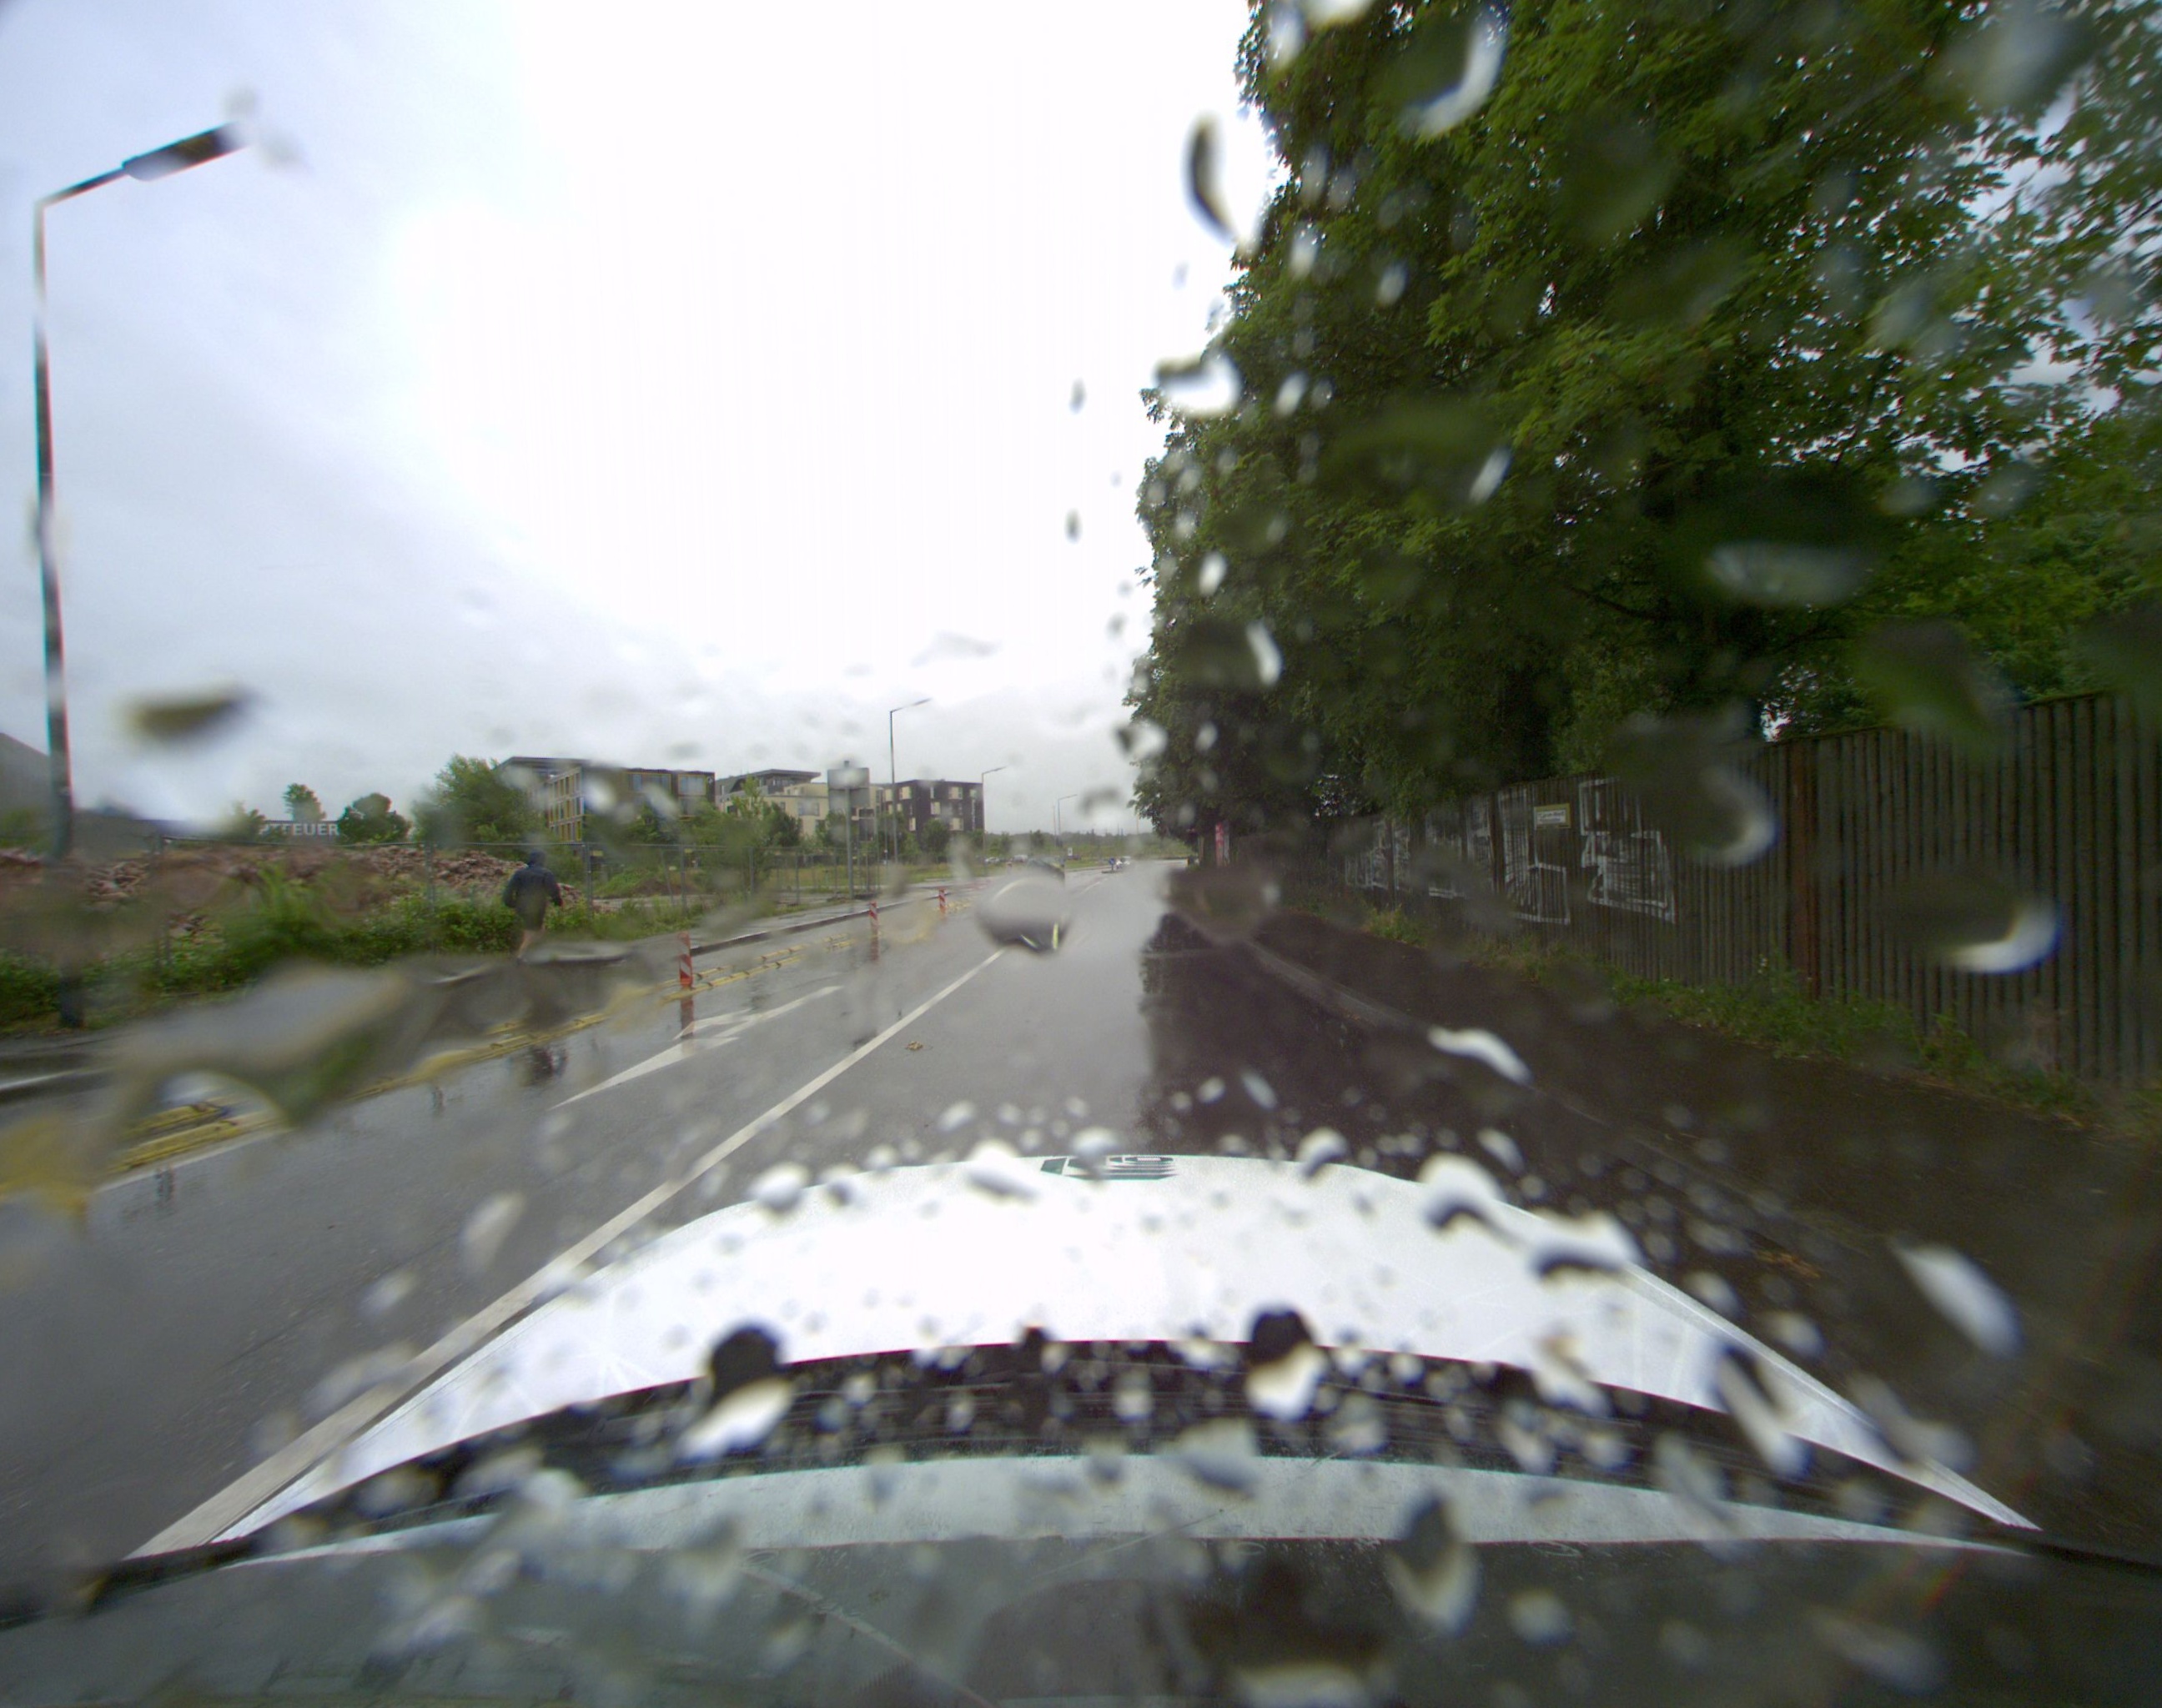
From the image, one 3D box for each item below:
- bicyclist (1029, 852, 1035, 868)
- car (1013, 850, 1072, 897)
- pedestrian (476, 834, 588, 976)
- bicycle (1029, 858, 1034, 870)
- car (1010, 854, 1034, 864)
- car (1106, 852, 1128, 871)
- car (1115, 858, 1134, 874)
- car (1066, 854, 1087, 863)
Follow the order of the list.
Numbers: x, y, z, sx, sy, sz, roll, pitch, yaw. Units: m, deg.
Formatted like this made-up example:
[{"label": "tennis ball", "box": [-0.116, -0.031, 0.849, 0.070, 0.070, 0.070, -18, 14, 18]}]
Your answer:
[{"label": "bicyclist", "box": [-4.379, 0.544, 72.468, 0.442, 1.404, 0.550, -2, -3, 0]}, {"label": "car", "box": [-1.506, 0.754, 33.496, 1.985, 1.772, 4.003, -2, 0, 3]}, {"label": "pedestrian", "box": [-8.214, 0.750, 12.231, 0.841, 2.014, 1.134, -2, -3, 7]}, {"label": "bicycle", "box": [-4.390, 0.867, 72.382, 0.426, 1.019, 1.611, -1, 0, -2]}, {"label": "car", "box": [-11.284, 0.960, 155.536, 4.021, 1.772, 1.976, 0, -3, -41]}, {"label": "car", "box": [3.750, 0.842, 84.524, 1.983, 1.772, 4.006, -2, -2, 6]}, {"label": "car", "box": [5.384, 1.479, 100.506, 1.983, 1.772, 4.006, -2, -2, 6]}, {"label": "car", "box": [-0.970, 0.934, 172.833, 4.021, 1.772, 1.976, 0, -3, -41]}]
